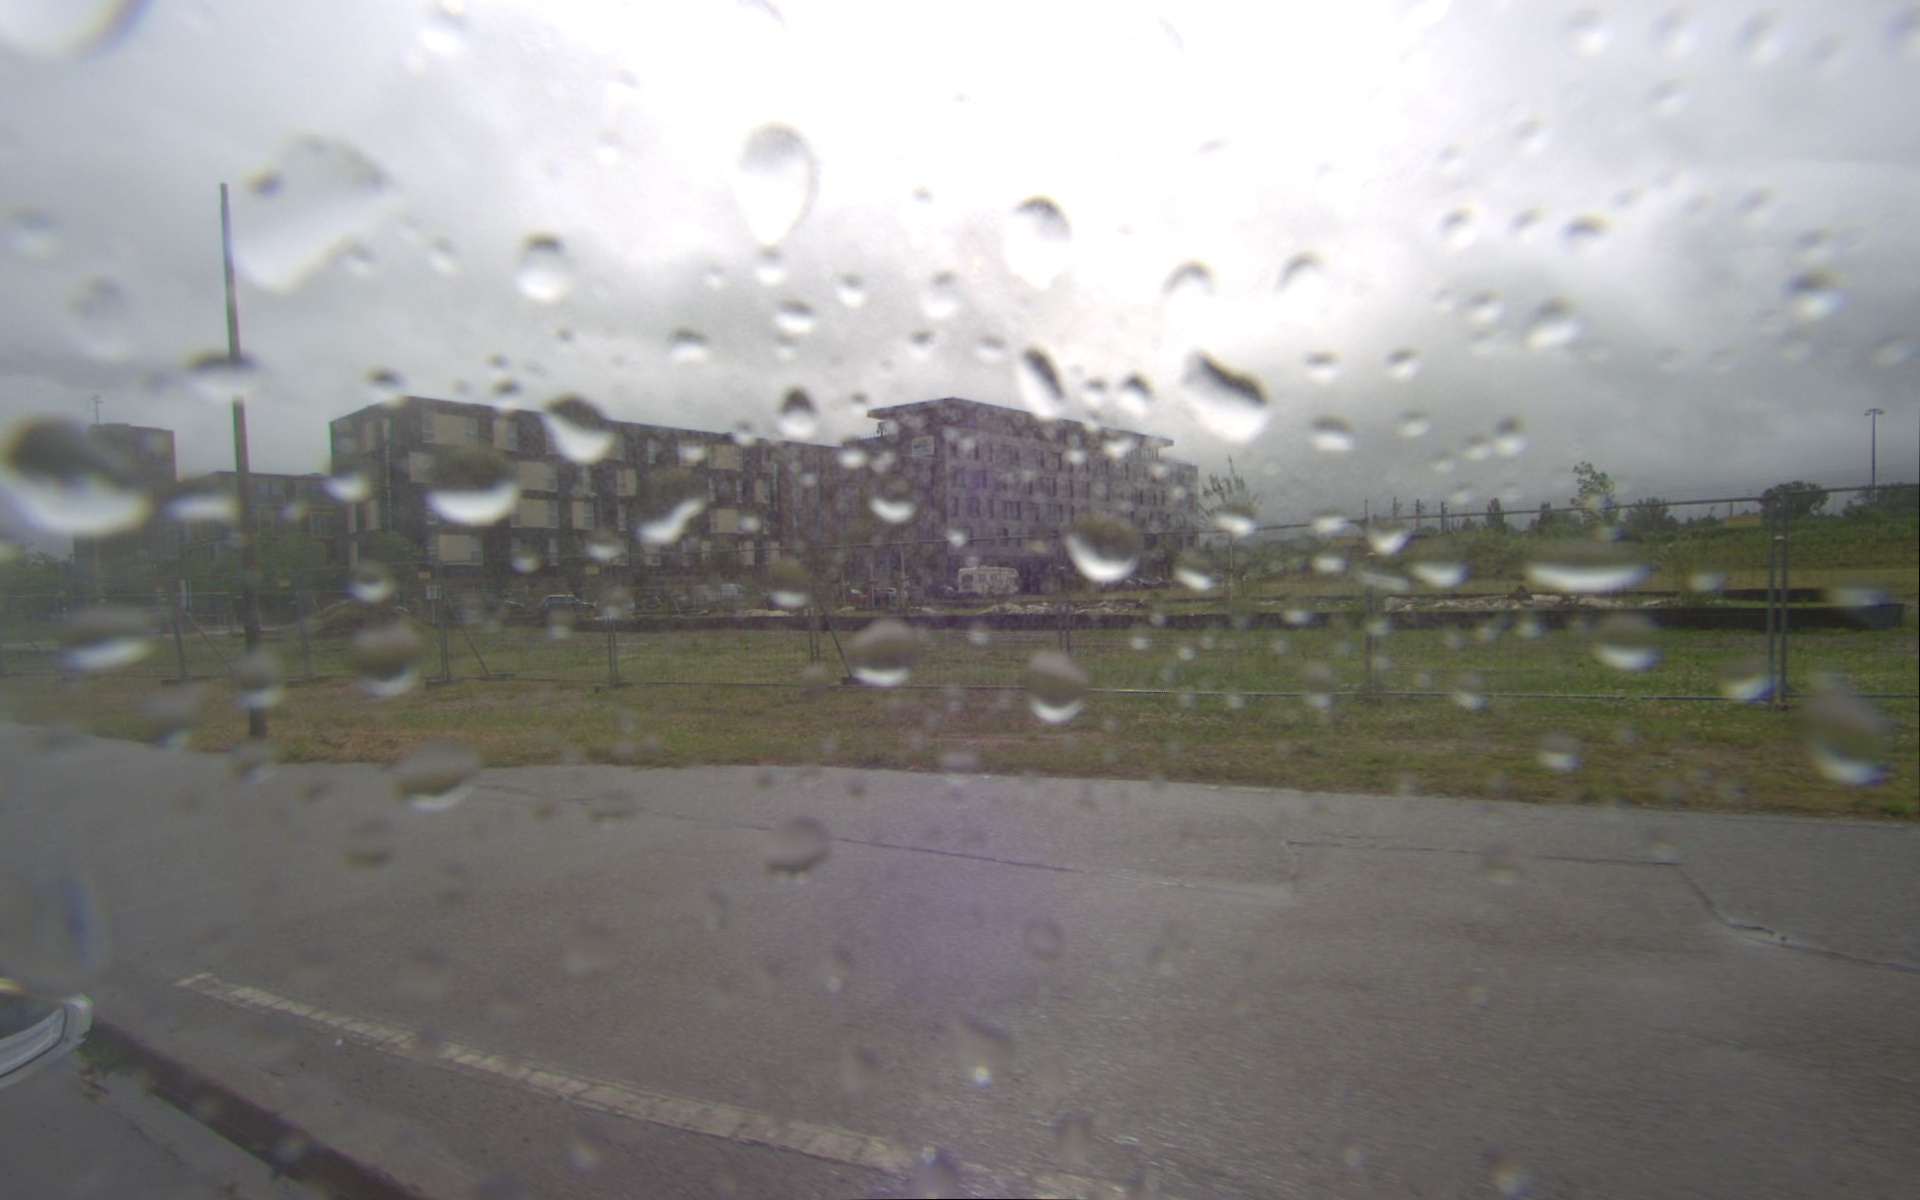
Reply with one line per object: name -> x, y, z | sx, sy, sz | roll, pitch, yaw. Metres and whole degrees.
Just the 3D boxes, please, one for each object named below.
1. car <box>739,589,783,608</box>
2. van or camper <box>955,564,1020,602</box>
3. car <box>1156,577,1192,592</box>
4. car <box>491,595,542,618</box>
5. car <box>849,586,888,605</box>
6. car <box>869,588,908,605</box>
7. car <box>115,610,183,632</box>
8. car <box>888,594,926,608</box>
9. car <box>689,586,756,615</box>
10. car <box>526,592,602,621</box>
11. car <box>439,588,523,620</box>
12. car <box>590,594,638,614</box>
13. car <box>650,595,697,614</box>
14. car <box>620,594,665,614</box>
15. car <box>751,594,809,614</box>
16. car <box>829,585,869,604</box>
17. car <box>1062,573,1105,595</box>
car -> -17.478, -0.110, 87.838 | 3.797, 1.636, 1.772 | -1, -2, 40
van or camper -> 2.624, -1.564, 94.206 | 2.500, 3.242, 6.748 | 0, -2, 40
car -> 27.426, -1.972, 128.368 | 4.322, 1.709, 1.784 | -1, -2, 43
car -> -31.175, 0.483, 70.388 | 3.797, 1.547, 1.772 | -1, -2, 40
car -> -8.802, -0.418, 96.285 | 3.797, 1.636, 1.537 | -1, -2, 40
car -> -7.056, -0.340, 98.505 | 3.797, 1.636, 1.537 | -1, -2, 40
car -> -68.169, 1.751, 84.203 | 1.649, 1.579, 4.178 | -1, 2, 44
car -> -5.368, 0.086, 100.828 | 3.858, 1.313, 1.540 | -1, -2, 40
car -> -16.916, 0.053, 71.550 | 1.977, 1.794, 4.305 | 0, -4, 41
car -> -24.607, 0.426, 62.341 | 1.974, 1.662, 3.975 | 0, -2, 36
car -> -27.756, 0.279, 58.114 | 1.974, 1.750, 3.975 | 0, -2, 36
car -> -26.325, 0.306, 76.105 | 3.763, 1.413, 1.755 | -1, -2, 40
car -> -22.849, 0.395, 79.839 | 3.797, 1.413, 1.772 | -1, -2, 40
car -> -24.724, 0.350, 77.917 | 3.738, 1.414, 1.630 | -2, -2, 41
car -> -13.581, 0.299, 75.741 | 1.977, 1.433, 3.968 | -1, 0, 40
car -> -10.503, -0.483, 94.491 | 3.797, 1.636, 1.537 | -1, -2, 40
car -> 12.632, -1.614, 102.402 | 1.979, 2.039, 4.769 | -1, -2, 44
